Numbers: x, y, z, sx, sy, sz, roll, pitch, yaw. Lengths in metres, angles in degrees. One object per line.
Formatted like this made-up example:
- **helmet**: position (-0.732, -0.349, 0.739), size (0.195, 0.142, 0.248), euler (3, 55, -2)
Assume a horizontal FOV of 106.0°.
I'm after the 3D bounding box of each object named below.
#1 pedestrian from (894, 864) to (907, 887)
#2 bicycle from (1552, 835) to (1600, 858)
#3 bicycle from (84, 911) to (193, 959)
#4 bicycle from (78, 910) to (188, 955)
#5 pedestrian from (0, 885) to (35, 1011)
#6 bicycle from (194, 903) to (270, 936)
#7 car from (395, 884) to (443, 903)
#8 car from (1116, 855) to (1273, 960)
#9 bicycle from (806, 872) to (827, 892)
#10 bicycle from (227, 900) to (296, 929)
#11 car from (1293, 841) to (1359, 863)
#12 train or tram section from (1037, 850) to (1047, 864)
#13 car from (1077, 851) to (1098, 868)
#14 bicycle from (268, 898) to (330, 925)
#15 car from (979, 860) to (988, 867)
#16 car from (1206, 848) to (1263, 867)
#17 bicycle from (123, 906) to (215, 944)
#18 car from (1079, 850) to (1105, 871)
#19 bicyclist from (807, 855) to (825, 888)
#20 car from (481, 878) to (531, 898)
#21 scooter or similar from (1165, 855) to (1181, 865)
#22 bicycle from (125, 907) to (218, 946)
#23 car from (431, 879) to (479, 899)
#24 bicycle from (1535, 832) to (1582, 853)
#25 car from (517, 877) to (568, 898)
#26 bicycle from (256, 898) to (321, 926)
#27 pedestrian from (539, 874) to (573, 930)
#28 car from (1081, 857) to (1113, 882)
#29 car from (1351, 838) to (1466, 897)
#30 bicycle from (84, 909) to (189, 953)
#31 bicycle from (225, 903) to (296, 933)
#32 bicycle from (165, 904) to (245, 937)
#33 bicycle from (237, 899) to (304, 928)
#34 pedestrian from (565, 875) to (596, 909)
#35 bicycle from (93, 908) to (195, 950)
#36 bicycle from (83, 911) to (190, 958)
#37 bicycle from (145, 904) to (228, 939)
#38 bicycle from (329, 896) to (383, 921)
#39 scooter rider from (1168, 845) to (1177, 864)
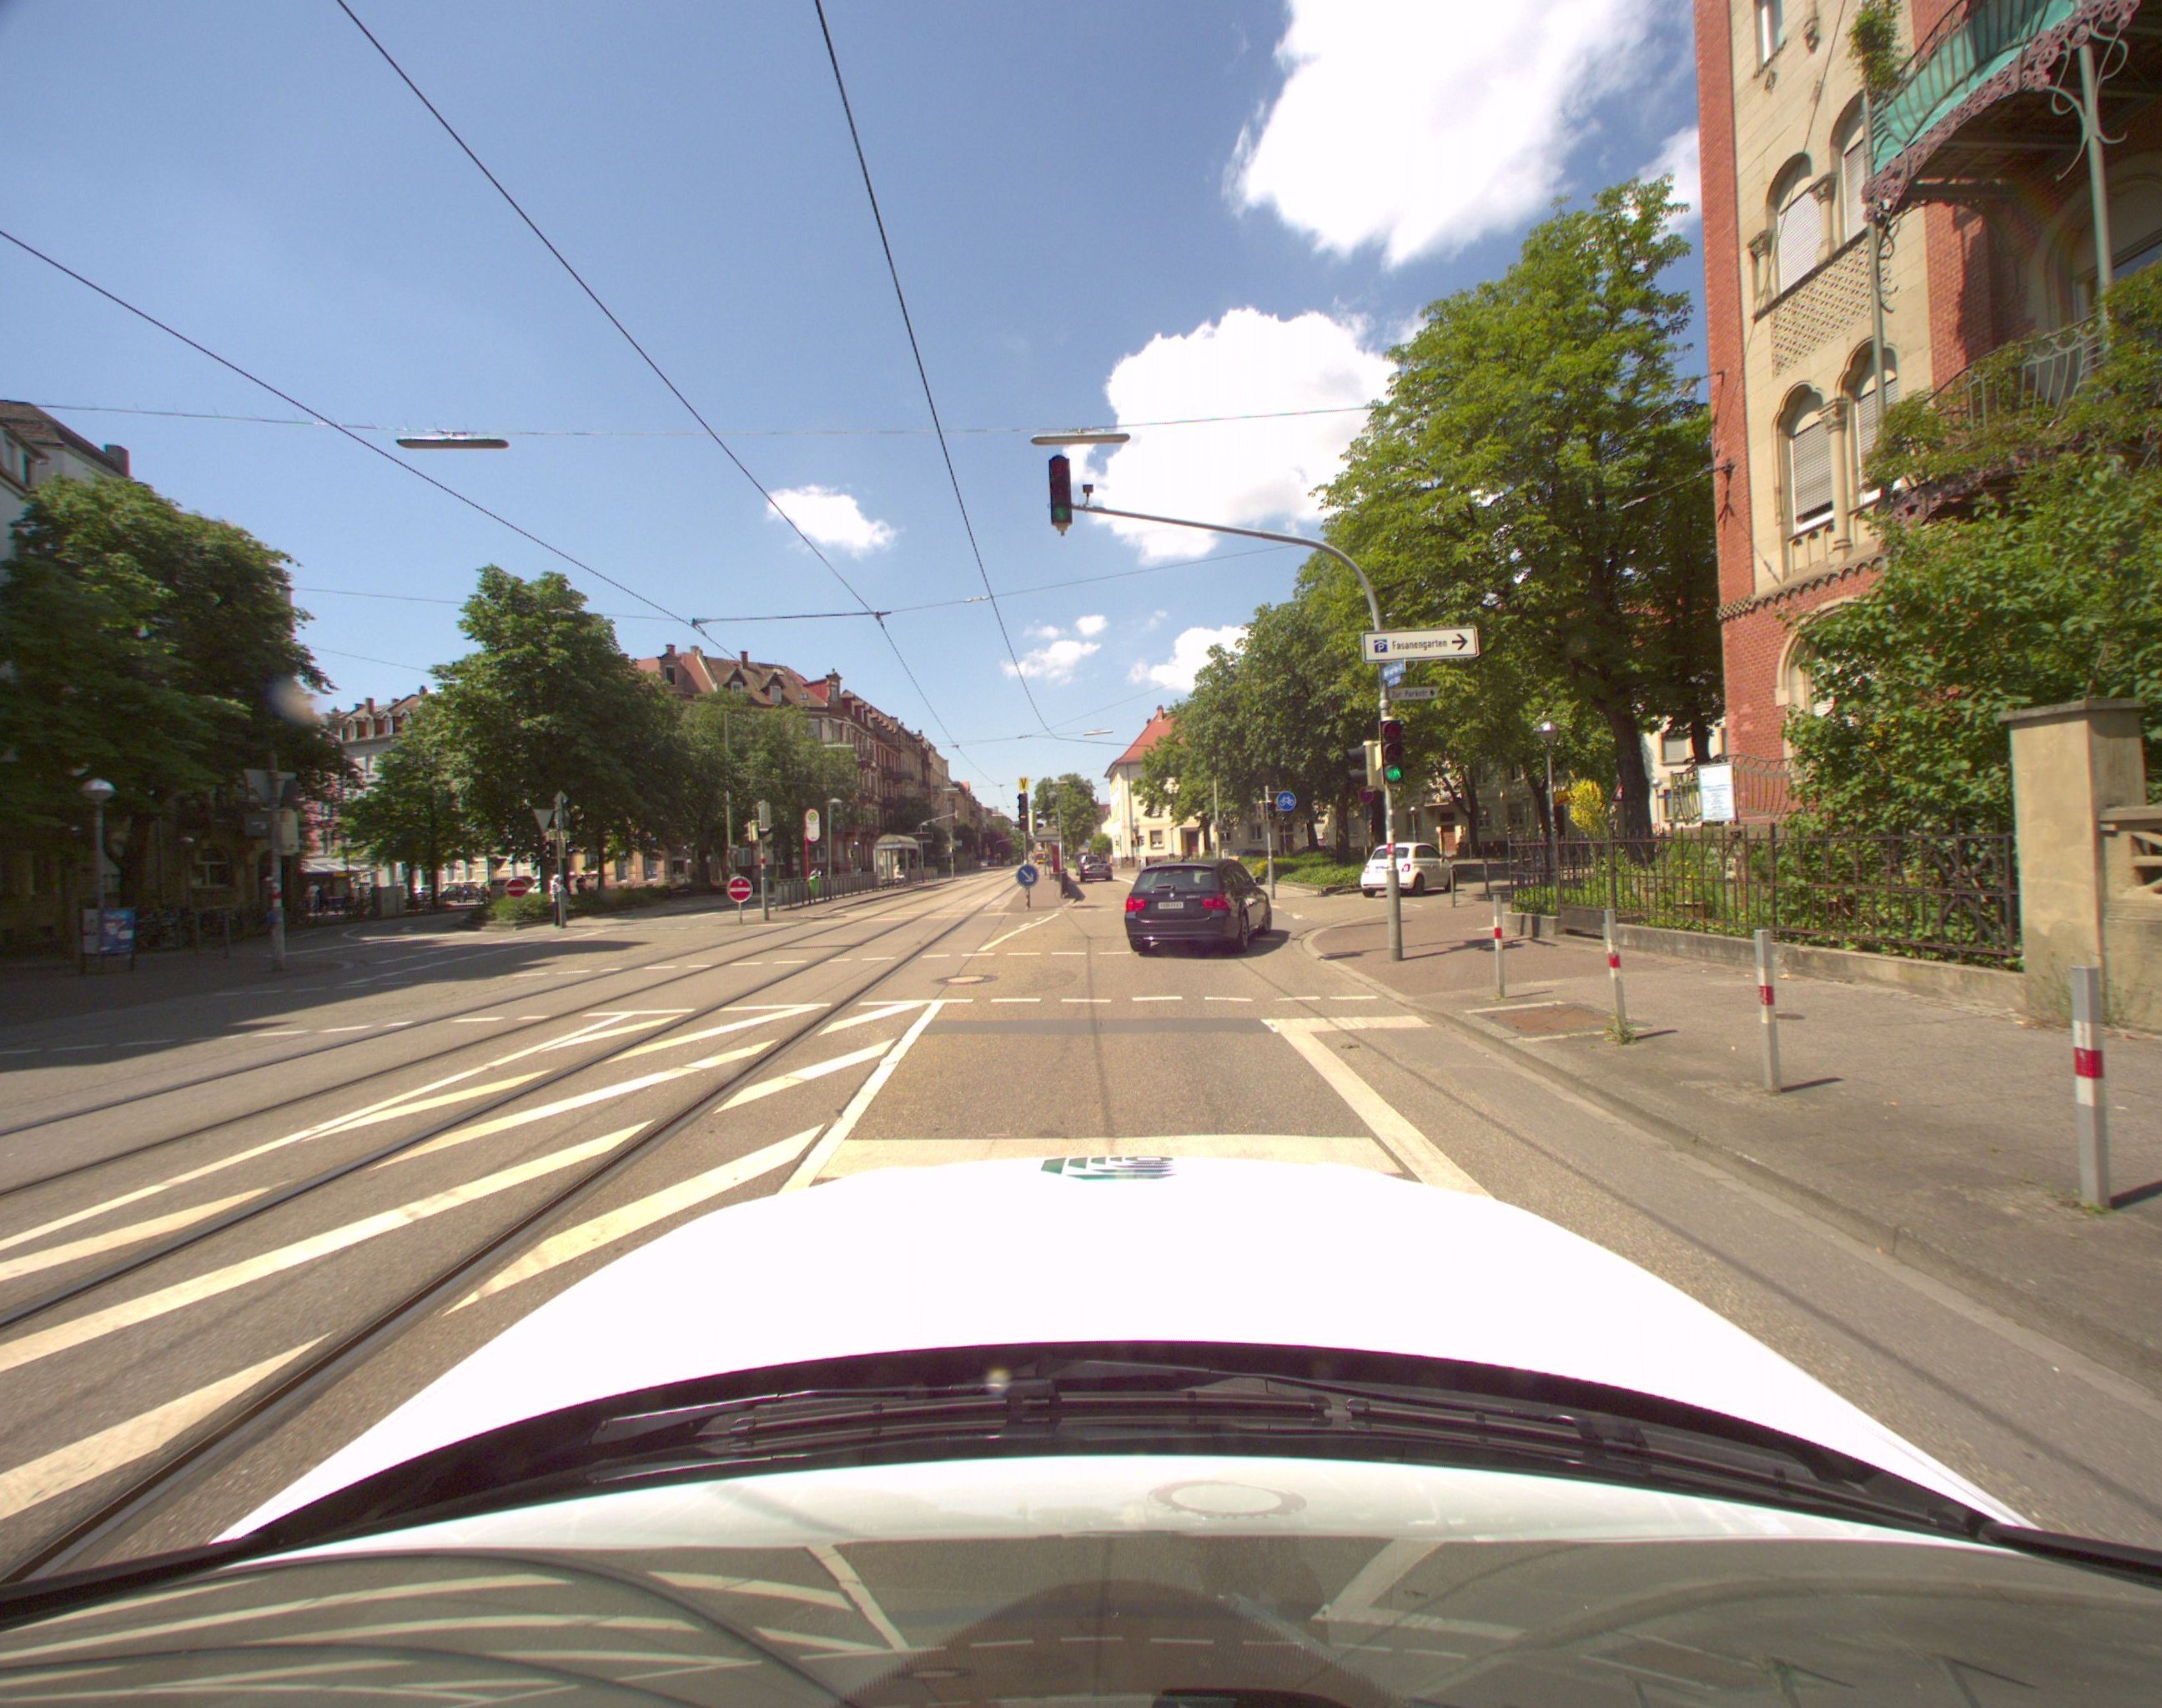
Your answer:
- **pedestrian**: position (-10.142, 1.201, 45.815), size (0.613, 1.243, 0.626), euler (-3, 0, -8)
- **bicycle**: position (26.220, -0.395, 43.135), size (2.205, 1.058, 0.653), euler (-3, 0, -5)
- **bicycle**: position (-24.221, 2.063, 20.962), size (0.537, 1.032, 1.743), euler (-3, 0, 31)
- **bicycle**: position (-25.832, 2.113, 22.232), size (0.537, 1.032, 1.868), euler (-3, 0, 31)
- **pedestrian**: position (-15.425, 1.320, 11.266), size (0.857, 1.732, 0.775), euler (-1, 0, 0)
- **bicycle**: position (-31.571, 2.425, 30.319), size (1.858, 1.032, 0.540), euler (-3, 0, -24)
- **car**: position (-56.944, 3.421, 70.052), size (3.429, 1.471, 1.694), euler (-3, 0, 22)
- **car**: position (2.075, 0.743, 13.562), size (1.708, 1.409, 4.587), euler (-1, 0, 19)
- **bicycle**: position (-15.177, 1.598, 46.775), size (0.727, 1.101, 1.713), euler (-3, 0, -3)
- **bicycle**: position (-33.159, 2.436, 32.969), size (1.859, 1.032, 0.540), euler (-3, 0, -25)
- **car**: position (17.167, -0.103, 57.240), size (1.799, 1.328, 4.293), euler (-3, 0, -34)
- **train or tram section**: position (-9.799, 0.762, 205.322), size (2.185, 3.482, 8.837), euler (-3, 0, -2)
- **car**: position (0.737, 0.677, 96.376), size (1.991, 1.849, 3.992), euler (-3, 0, -5)
- **bicycle**: position (-33.968, 2.486, 35.403), size (1.859, 1.032, 0.540), euler (-3, 0, -25)
- **car**: position (-20.362, 1.993, 170.019), size (1.788, 1.586, 3.985), euler (-1, -1, -10)
- **car**: position (11.778, 0.266, 62.715), size (3.948, 1.243, 1.634), euler (-3, 0, 33)
- **bicycle**: position (-28.740, 2.214, 25.690), size (0.537, 1.032, 1.868), euler (-3, 0, 38)
- **car**: position (0.850, 0.501, 63.705), size (1.688, 1.514, 3.815), euler (-2, 0, -4)
- **bicyclist**: position (-15.228, 0.994, 46.840), size (0.720, 1.870, 0.825), euler (-3, 0, -1)
- **car**: position (-46.605, 2.768, 66.021), size (3.429, 1.471, 1.694), euler (-3, 0, 22)
- **scooter or similar**: position (8.439, 0.523, 74.915), size (1.311, 0.837, 0.525), euler (-3, 0, -8)
- **bicycle**: position (-28.187, 2.226, 25.265), size (0.537, 1.032, 1.868), euler (-3, 0, 38)
- **car**: position (-52.484, 2.938, 68.298), size (3.429, 1.471, 1.694), euler (-3, 0, 22)
- **bicycle**: position (26.310, -0.644, 44.894), size (2.203, 1.058, 0.557), euler (-3, 0, -1)
- **car**: position (-42.910, 2.674, 64.932), size (3.429, 1.471, 1.694), euler (-3, 0, 22)
- **bicycle**: position (-33.618, 2.463, 34.582), size (1.859, 1.032, 0.540), euler (-3, 0, -25)
- **pedestrian**: position (-16.713, 1.507, 25.932), size (0.843, 1.723, 0.910), euler (-3, 0, -32)
- **car**: position (0.914, 0.855, 47.388), size (1.686, 1.323, 3.819), euler (-2, 0, -1)
- **car**: position (9.517, 0.374, 23.525), size (3.706, 1.484, 1.669), euler (-3, 0, -44)
- **bicycle**: position (-26.829, 2.172, 23.181), size (1.866, 1.032, 0.538), euler (-3, 0, -42)
- **bicycle**: position (-31.960, 2.479, 31.750), size (1.858, 1.032, 0.540), euler (-3, 0, -24)
- **bicycle**: position (-31.390, 2.375, 29.219), size (1.858, 1.032, 0.540), euler (-3, 0, -24)
- **bicycle**: position (-33.370, 2.447, 33.553), size (1.859, 1.032, 0.540), euler (-3, 0, -25)
- **pedestrian**: position (-28.616, 2.144, 46.540), size (0.992, 1.868, 1.021), euler (-3, 0, 15)
- **bicycle**: position (-27.347, 2.163, 23.814), size (1.866, 1.032, 0.538), euler (-3, 0, -43)
- **bicycle**: position (-24.753, 2.080, 21.377), size (0.537, 1.032, 1.743), euler (-3, 0, 31)
- **bicycle**: position (-31.073, 2.333, 28.326), size (1.858, 1.032, 0.540), euler (-3, 0, -24)
- **bicycle**: position (-34.886, 2.612, 39.209), size (1.859, 1.032, 0.540), euler (-3, 0, -25)
- **scooter rider**: position (8.405, 0.018, 74.923), size (0.590, 1.687, 0.527), euler (-3, 0, -7)
